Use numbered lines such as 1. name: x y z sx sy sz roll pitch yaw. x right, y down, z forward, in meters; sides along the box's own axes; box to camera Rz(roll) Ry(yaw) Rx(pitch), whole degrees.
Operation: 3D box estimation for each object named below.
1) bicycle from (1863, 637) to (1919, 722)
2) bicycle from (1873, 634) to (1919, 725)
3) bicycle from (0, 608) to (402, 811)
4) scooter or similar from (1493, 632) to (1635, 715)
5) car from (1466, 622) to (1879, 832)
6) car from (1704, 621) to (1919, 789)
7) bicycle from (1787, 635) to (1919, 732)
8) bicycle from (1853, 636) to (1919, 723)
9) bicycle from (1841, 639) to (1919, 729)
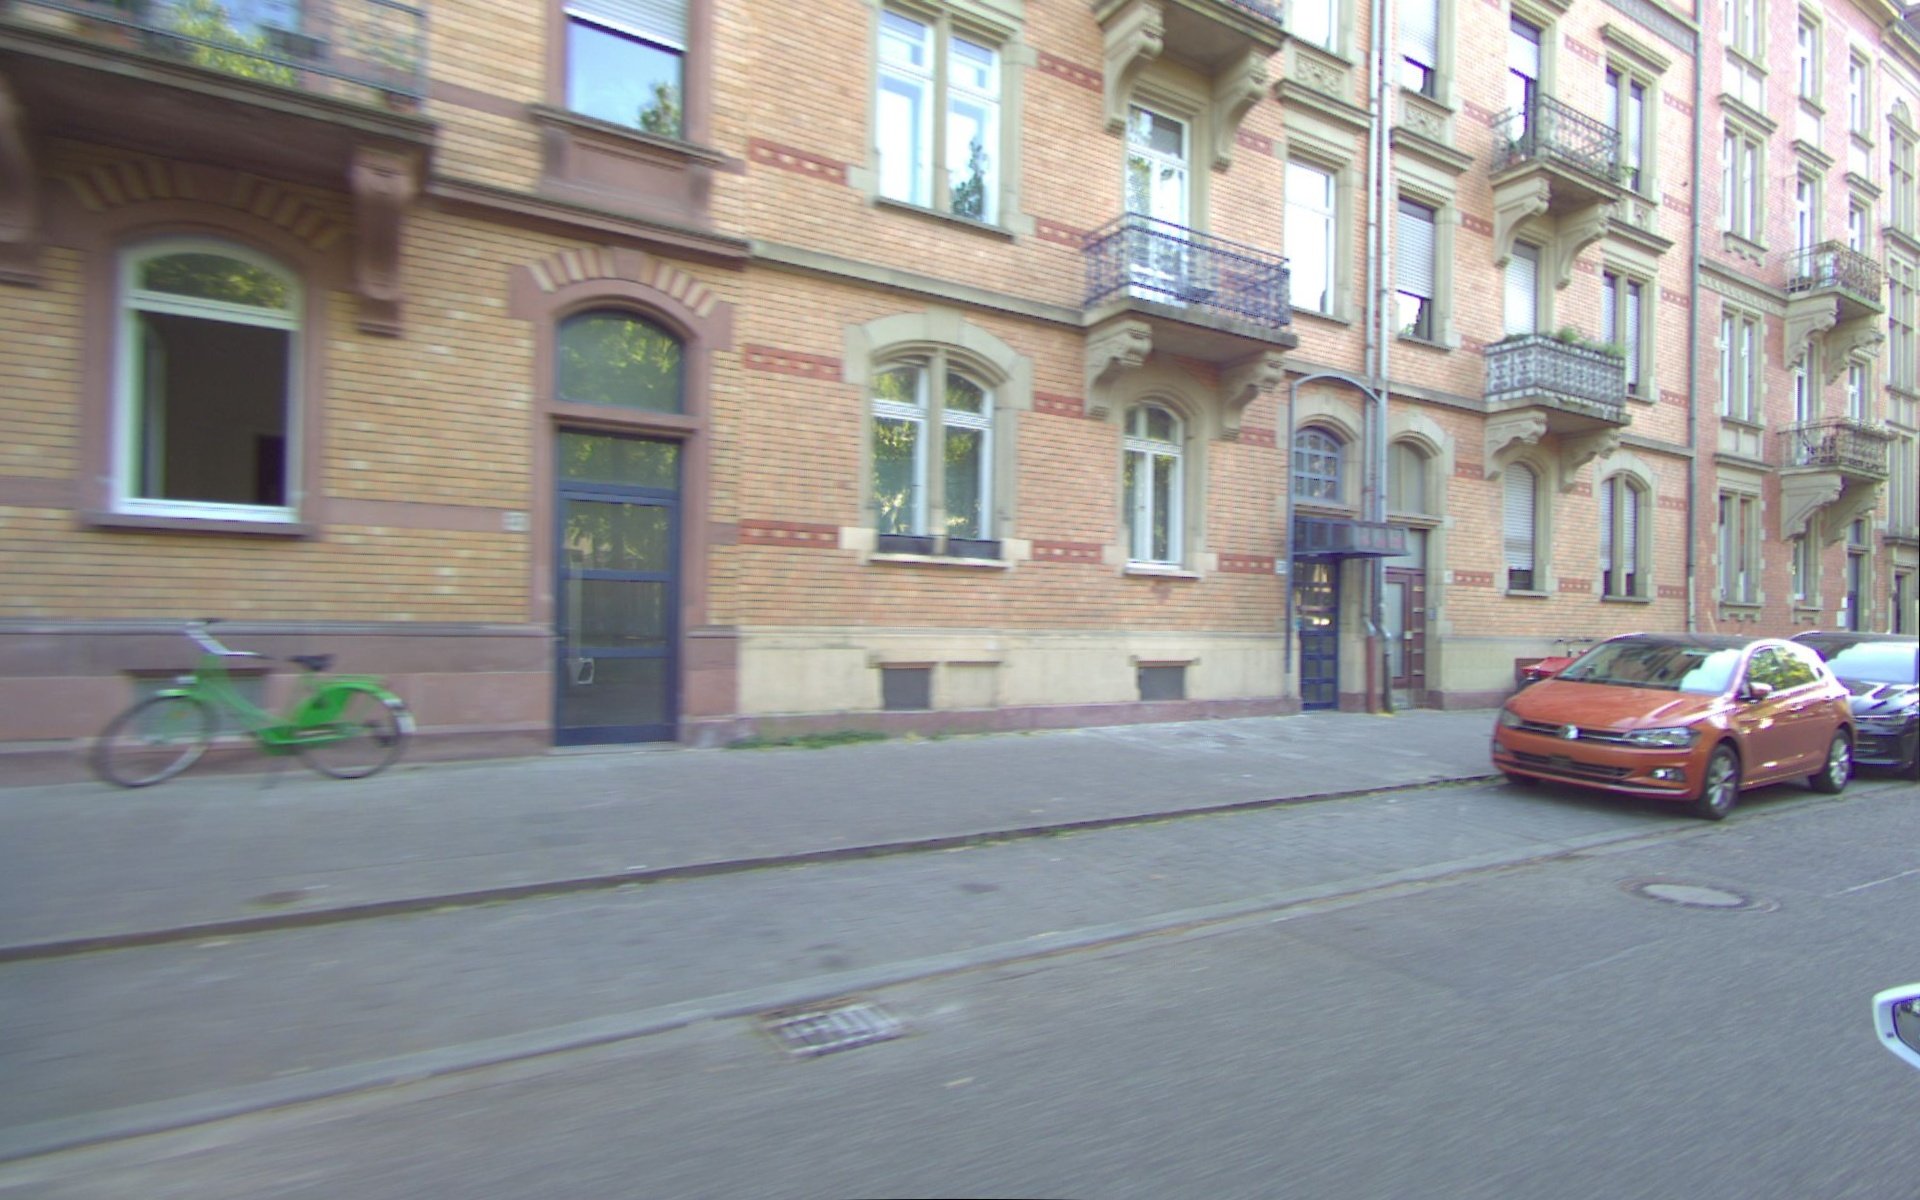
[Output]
1. bicycle: 14.555 1.203 14.835 0.423 1.231 1.754 3 -1 -30
2. bicycle: 14.988 1.231 15.120 0.490 1.365 1.754 3 -1 -30
3. bicycle: -5.254 0.681 6.885 2.484 1.223 0.733 1 0 -30
4. scooter or similar: 9.850 1.200 16.339 2.673 1.238 0.779 4 -1 -31
5. car: 6.692 1.015 9.339 3.957 1.483 1.743 2 1 -33
6. car: 10.446 1.094 11.703 4.113 1.567 1.734 2 0 -37
7. bicycle: 12.856 1.160 13.939 2.067 1.231 0.439 2 -1 45
8. bicycle: 14.149 1.175 14.529 0.459 1.231 1.754 3 -1 -30
9. bicycle: 13.719 1.208 14.249 0.436 1.231 1.754 3 -1 -30
